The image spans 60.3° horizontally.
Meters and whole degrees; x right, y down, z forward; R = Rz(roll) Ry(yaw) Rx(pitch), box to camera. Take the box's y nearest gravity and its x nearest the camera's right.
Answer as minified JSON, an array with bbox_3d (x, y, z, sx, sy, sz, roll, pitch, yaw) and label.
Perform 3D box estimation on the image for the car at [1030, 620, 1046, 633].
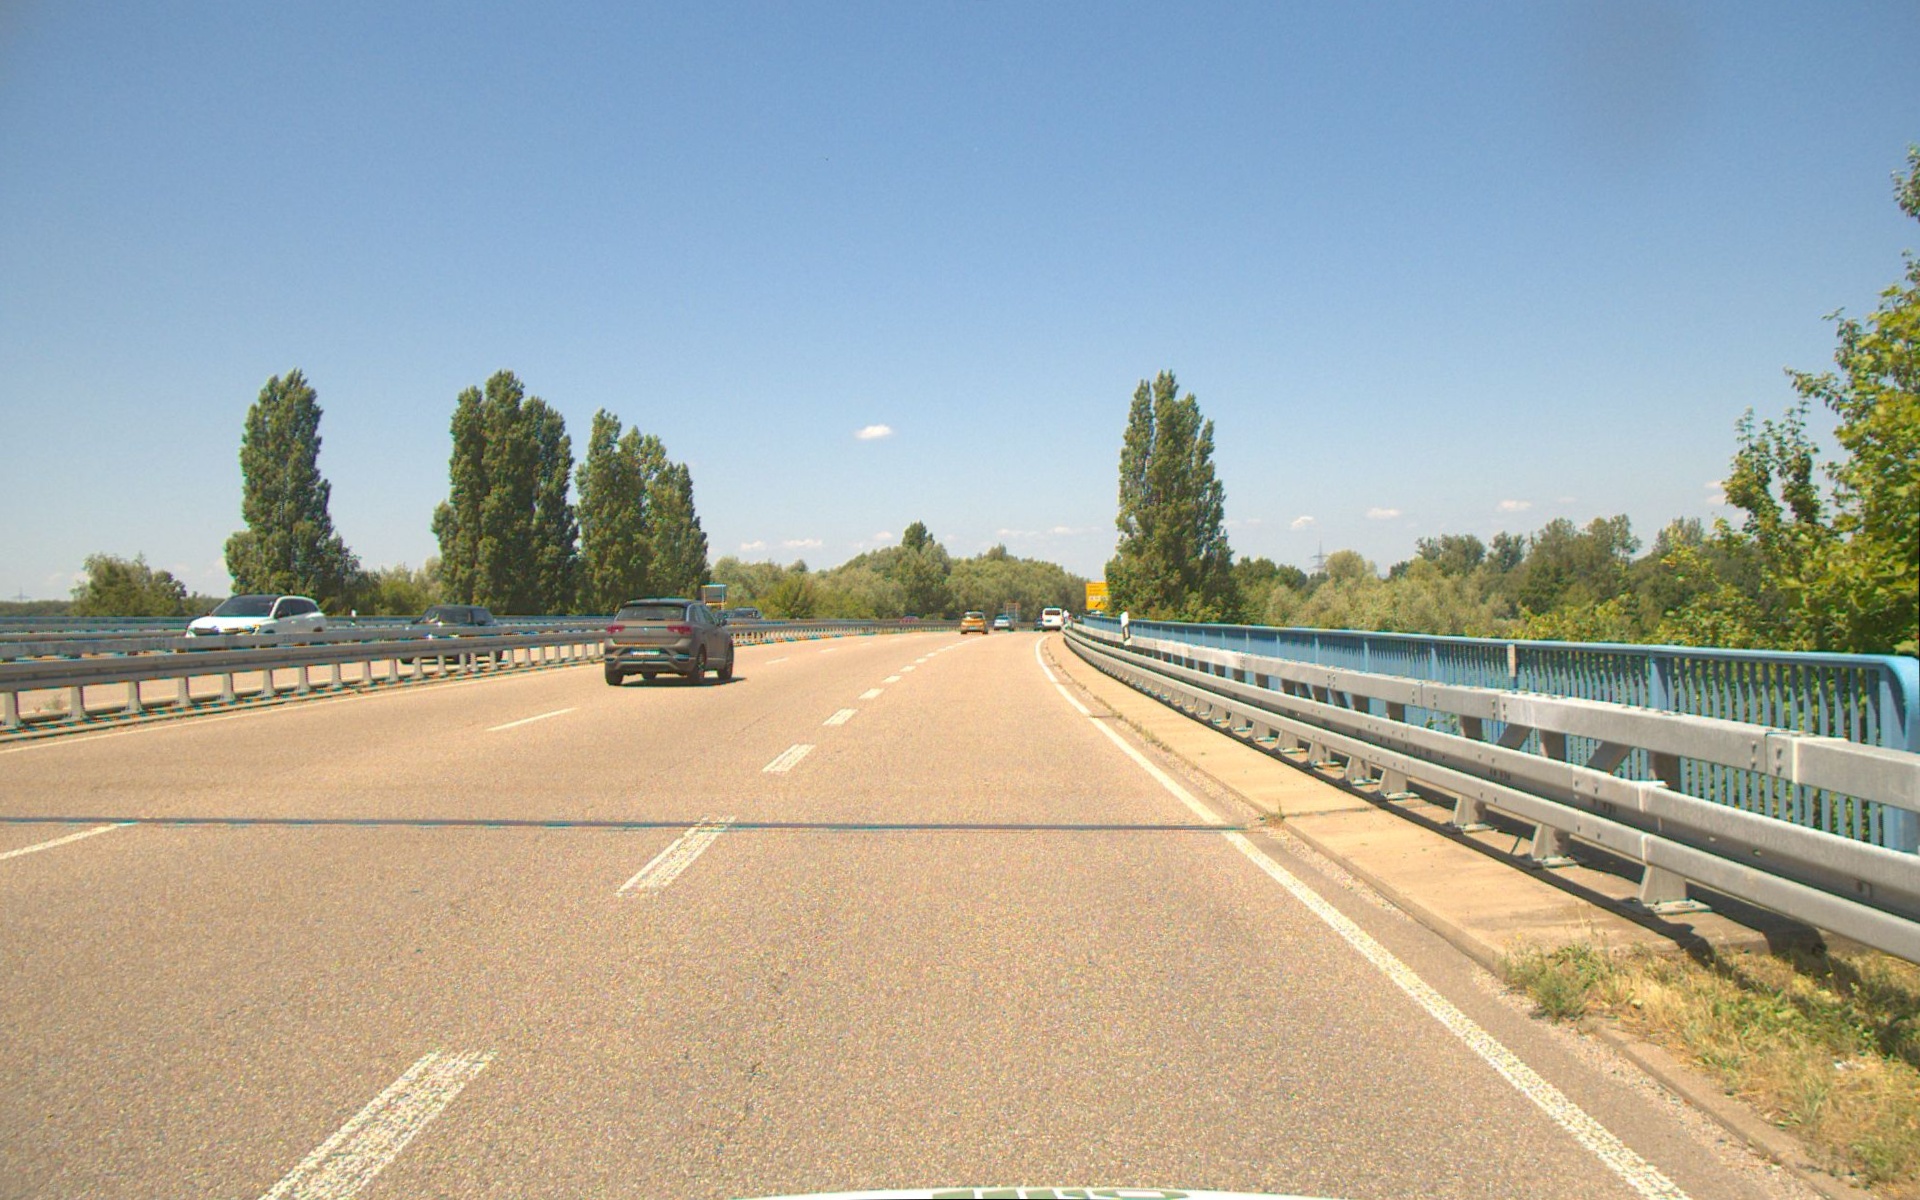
[{"bbox_3d":[9.866,3.351,209.522,1.903,1.489,4.002,1,0,4],"label":"car"}]

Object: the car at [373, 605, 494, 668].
[{"bbox_3d":[-12.954,0.904,40.920,1.689,1.454,3.948,-1,-1,1],"label":"car"}]

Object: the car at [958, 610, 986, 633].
[{"bbox_3d":[0.791,1.442,111.035,1.803,1.489,4.000,1,0,0],"label":"car"}]

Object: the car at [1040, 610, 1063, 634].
[{"bbox_3d":[7.835,1.864,140.936,1.802,1.928,4.002,1,0,5],"label":"car"}]

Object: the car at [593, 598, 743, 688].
[{"bbox_3d":[-5.425,0.756,31.327,1.803,1.556,4.471,1,0,3],"label":"car"}]

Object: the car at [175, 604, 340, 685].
[{"bbox_3d":[-17.036,1.072,40.376,1.814,1.850,4.796,-1,-1,2],"label":"car"}]

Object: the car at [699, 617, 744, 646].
[{"bbox_3d":[-14.261,1.906,99.015,1.805,1.697,5.051,-1,-1,2],"label":"car"}]

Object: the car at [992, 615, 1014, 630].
[{"bbox_3d":[4.387,2.303,168.784,1.802,1.476,4.003,1,0,8],"label":"car"}]

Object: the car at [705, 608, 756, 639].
[{"bbox_3d":[-11.774,1.203,85.255,1.865,1.531,4.684,0,0,1],"label":"car"}]
